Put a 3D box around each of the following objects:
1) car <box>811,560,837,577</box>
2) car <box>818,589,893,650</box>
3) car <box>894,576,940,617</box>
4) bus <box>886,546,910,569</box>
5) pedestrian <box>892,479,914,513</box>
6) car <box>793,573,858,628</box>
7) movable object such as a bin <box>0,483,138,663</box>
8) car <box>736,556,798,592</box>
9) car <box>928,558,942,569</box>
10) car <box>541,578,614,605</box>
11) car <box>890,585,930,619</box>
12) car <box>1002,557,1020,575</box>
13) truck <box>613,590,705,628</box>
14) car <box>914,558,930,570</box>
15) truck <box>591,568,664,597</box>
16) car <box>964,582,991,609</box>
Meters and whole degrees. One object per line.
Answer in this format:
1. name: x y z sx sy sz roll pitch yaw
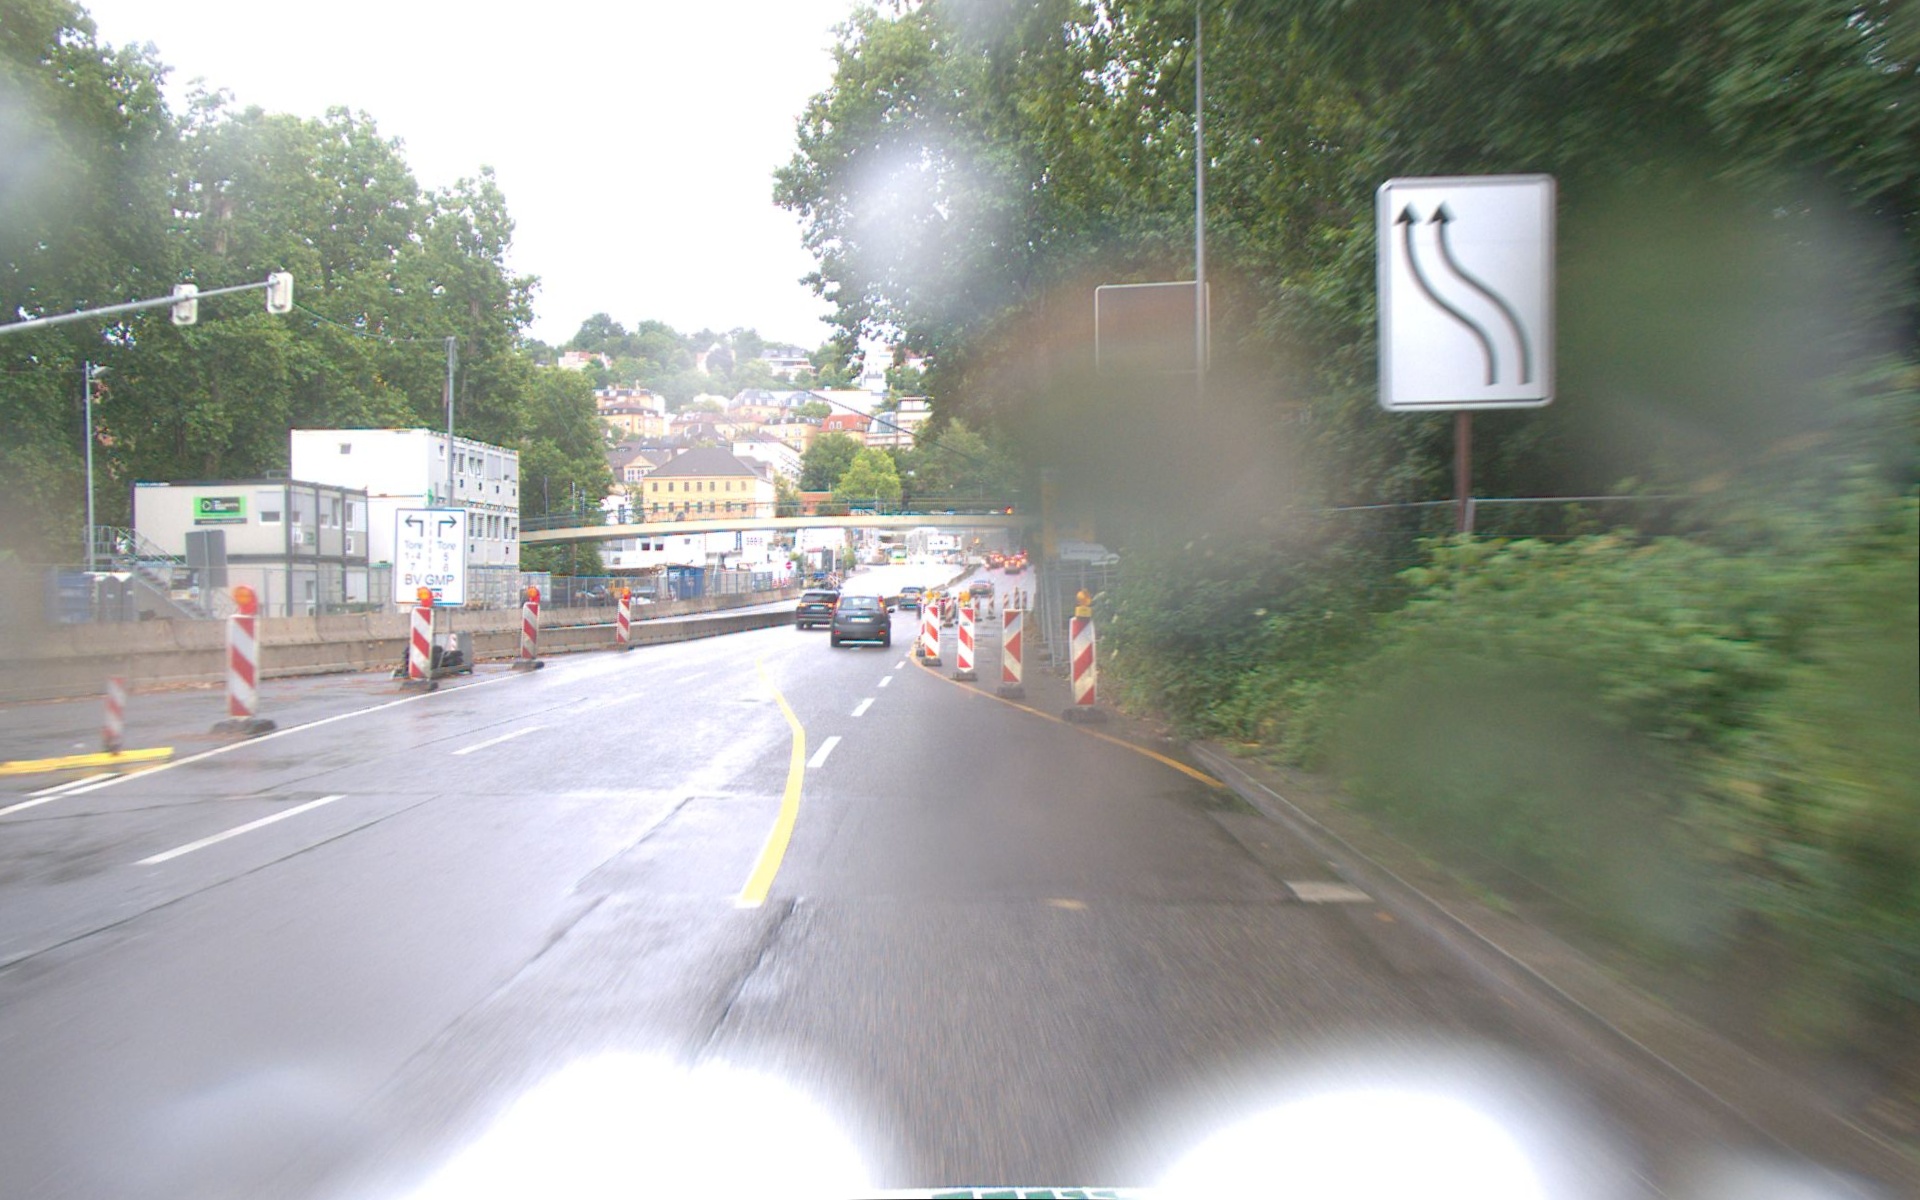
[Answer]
1. car: -14.122 -3.287 172.124 1.951 1.649 4.004 -1 3 7
2. car: -2.921 0.513 45.585 1.778 1.553 3.993 -2 0 -8
3. car: -2.247 -0.195 87.596 2.061 2.086 4.002 -1 0 3
4. bus: -9.143 -6.229 244.877 2.747 3.240 8.812 -1 1 3
5. pedestrian: -3.594 -6.589 104.800 1.123 2.096 1.060 -1 0 11
6. car: -5.215 0.003 64.641 1.974 2.049 4.001 -1 0 3
7. movable object such as a bin: -28.203 -0.694 47.584 4.651 4.887 8.361 -1 0 1
8. car: -16.415 -2.211 140.864 1.956 2.925 6.041 -1 0 30
9. car: -3.845 -5.627 254.960 1.673 1.515 3.452 -1 0 5
10. car: -24.988 -0.583 108.123 4.337 1.656 1.957 -1 1 -6
11. car: -3.122 0.113 104.222 1.951 2.049 4.003 -1 0 6
12. car: 5.943 -3.956 193.110 1.952 1.902 4.001 -1 0 2
13. truck: -21.508 0.621 118.587 6.152 2.495 2.692 -1 0 -4
14. car: -5.535 -5.290 240.373 2.038 1.659 4.855 -1 2 2
15. truck: -25.290 -1.336 125.932 5.140 2.048 2.163 -1 1 -1
16. car: 1.466 -0.376 135.070 2.009 2.049 4.001 -1 0 2
